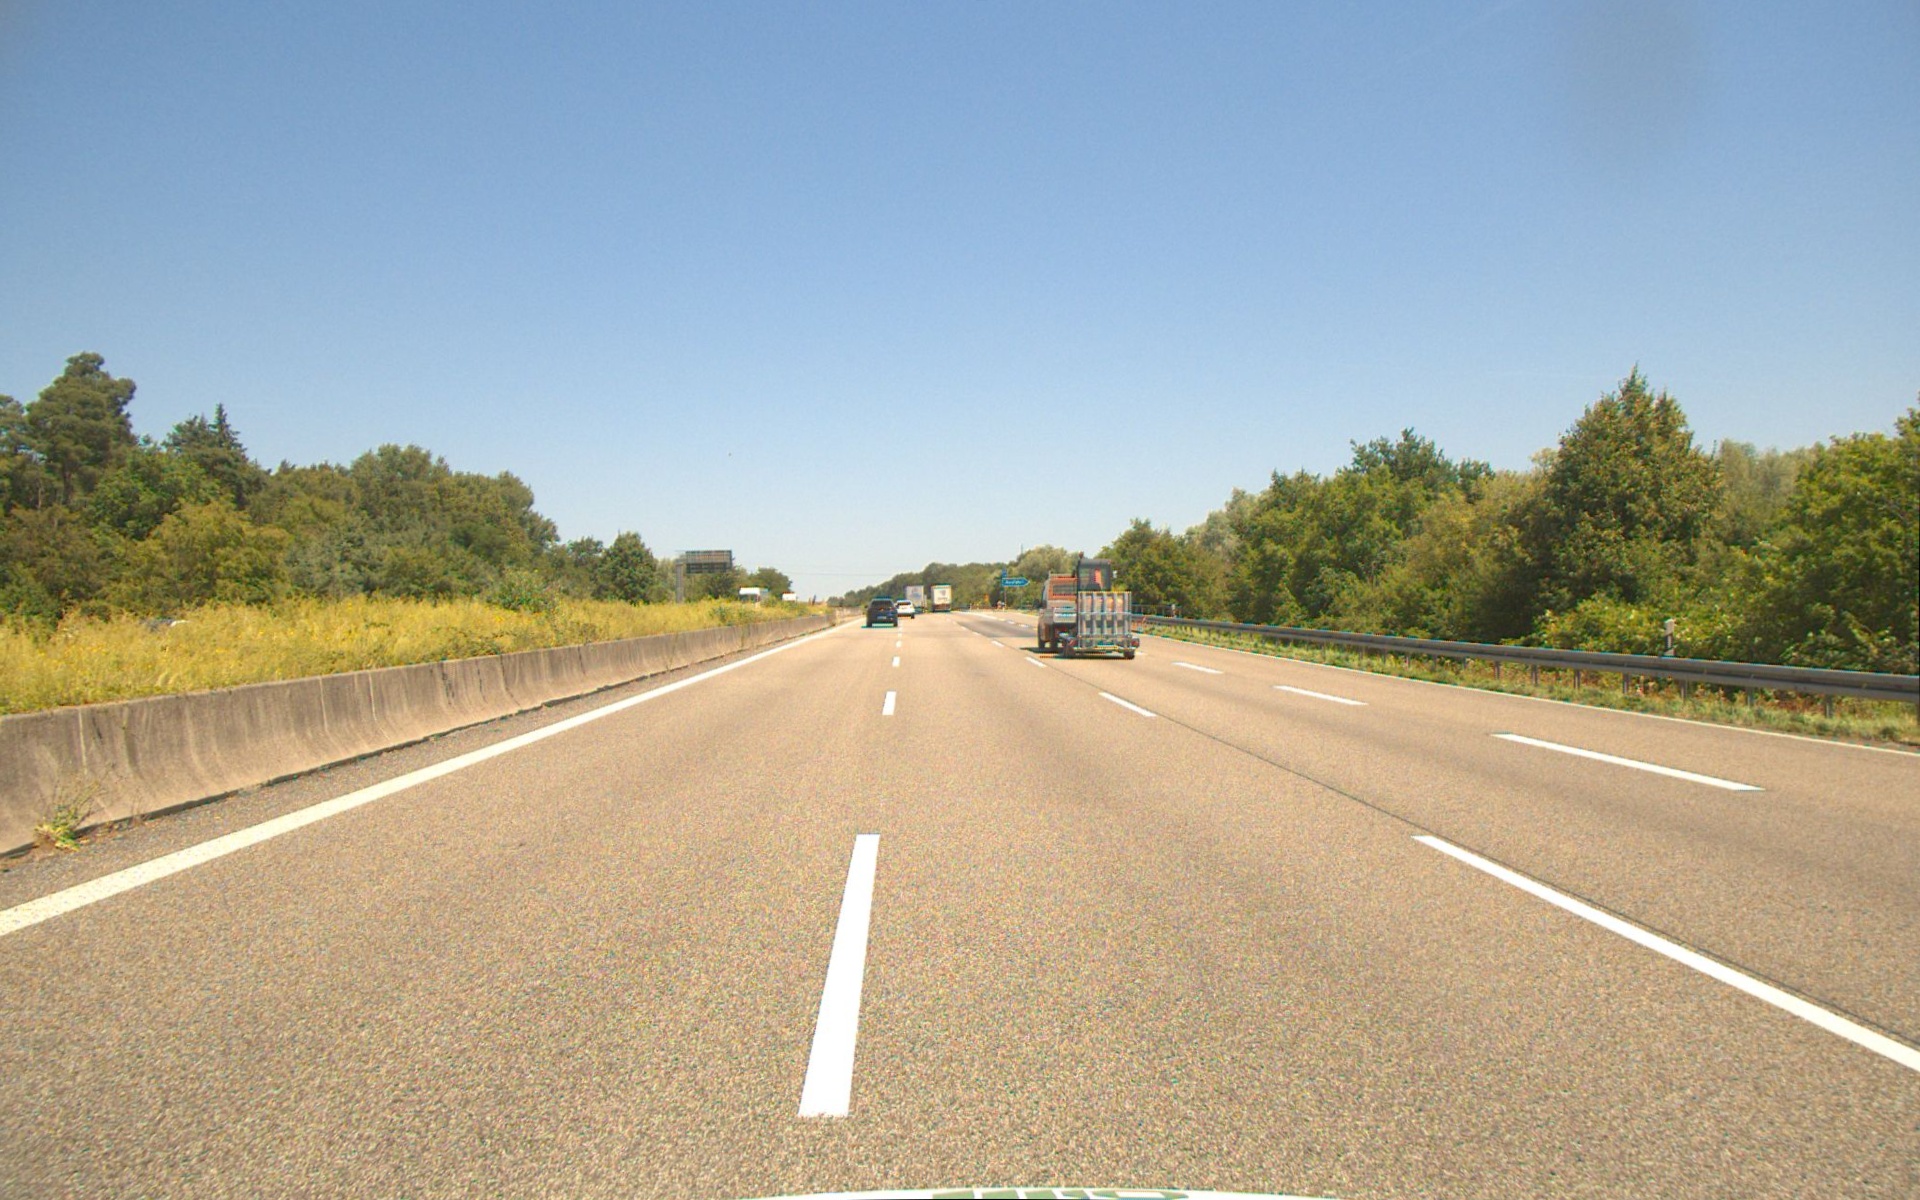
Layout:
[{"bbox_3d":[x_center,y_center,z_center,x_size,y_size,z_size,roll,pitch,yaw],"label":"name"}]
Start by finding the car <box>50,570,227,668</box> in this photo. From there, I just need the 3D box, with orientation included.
[{"bbox_3d":[-18.104,0.408,36.659,1.953,2.049,3.999,0,0,-1],"label":"car"}]

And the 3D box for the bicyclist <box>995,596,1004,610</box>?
[{"bbox_3d":[4.602,0.334,194.319,0.940,1.623,0.808,1,-1,6],"label":"bicyclist"}]

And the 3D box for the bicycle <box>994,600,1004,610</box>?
[{"bbox_3d":[4.597,0.550,194.322,0.940,1.178,2.609,1,0,6],"label":"bicycle"}]

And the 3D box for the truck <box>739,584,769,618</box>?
[{"bbox_3d":[-26.289,0.073,210.981,2.924,4.147,8.190,-2,0,-2],"label":"truck"}]

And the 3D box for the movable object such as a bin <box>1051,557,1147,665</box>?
[{"bbox_3d":[3.923,0.313,47.424,2.130,2.864,4.759,-2,0,-2],"label":"movable object such as a bin"}]

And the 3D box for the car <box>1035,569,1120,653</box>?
[{"bbox_3d":[3.717,0.341,53.480,1.953,2.447,7.223,-2,0,-2],"label":"car"}]

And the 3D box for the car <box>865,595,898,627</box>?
[{"bbox_3d":[-4.925,0.690,104.194,1.953,1.907,3.998,-2,0,-2],"label":"car"}]

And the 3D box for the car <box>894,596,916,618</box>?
[{"bbox_3d":[-5.029,0.634,150.783,1.953,1.907,3.998,-1,0,-2],"label":"car"}]

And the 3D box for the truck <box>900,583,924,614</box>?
[{"bbox_3d":[-6.771,-0.211,231.197,3.165,4.276,8.460,0,0,-3],"label":"truck"}]

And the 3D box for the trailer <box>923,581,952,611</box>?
[{"bbox_3d":[-3.395,-0.562,246.242,3.304,4.215,9.076,1,0,-7],"label":"trailer"}]
